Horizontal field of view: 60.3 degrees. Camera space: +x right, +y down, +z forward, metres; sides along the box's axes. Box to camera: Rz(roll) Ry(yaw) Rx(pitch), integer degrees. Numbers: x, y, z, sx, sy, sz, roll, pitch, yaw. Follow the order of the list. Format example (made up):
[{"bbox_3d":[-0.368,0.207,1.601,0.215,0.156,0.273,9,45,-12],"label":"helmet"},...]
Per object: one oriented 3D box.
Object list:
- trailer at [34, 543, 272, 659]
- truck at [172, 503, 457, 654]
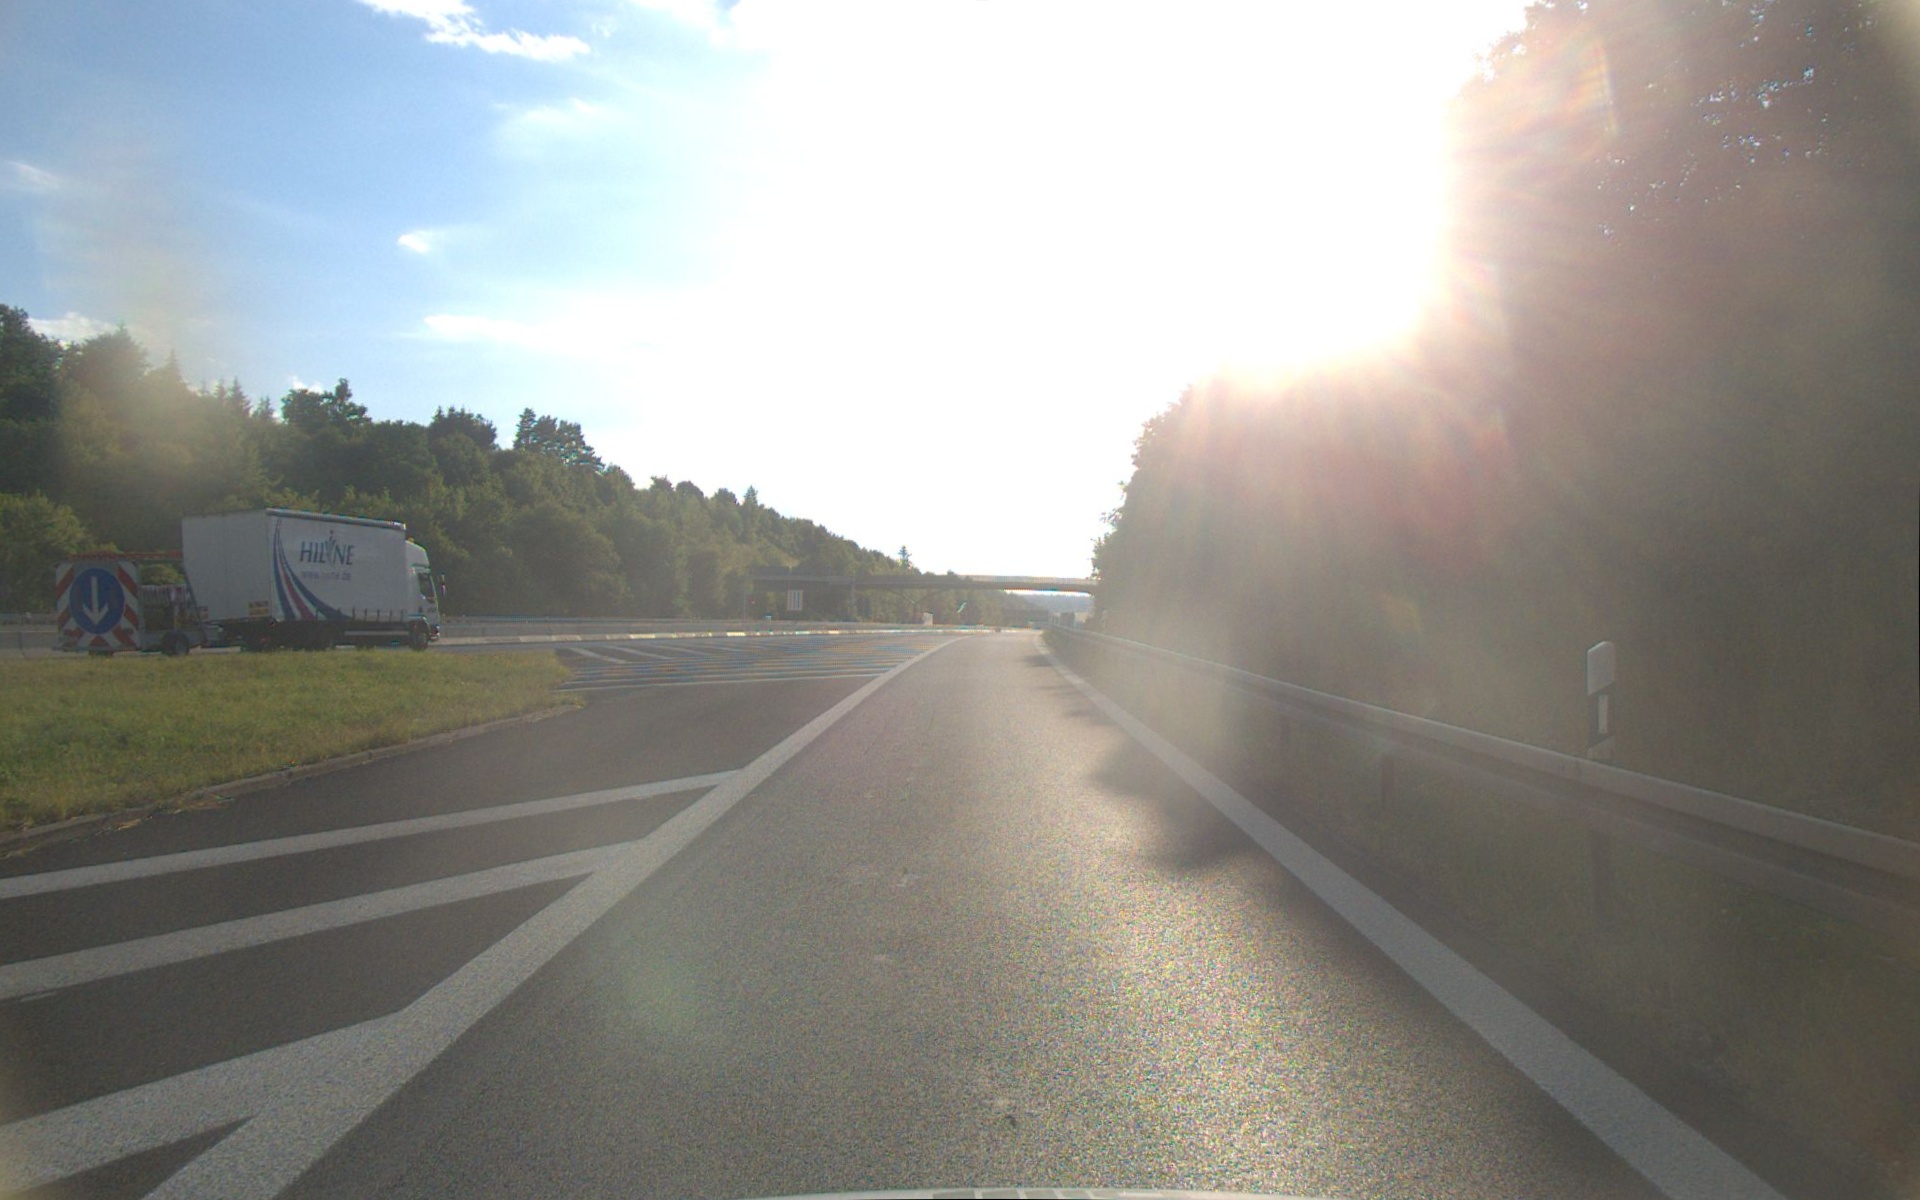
[{"bbox_3d":[-19.543,0.027,40.352,2.858,2.623,4.819,0,0,11],"label":"trailer"},{"bbox_3d":[-18.138,-0.534,47.471,2.858,3.856,9.673,0,0,11],"label":"truck"}]
